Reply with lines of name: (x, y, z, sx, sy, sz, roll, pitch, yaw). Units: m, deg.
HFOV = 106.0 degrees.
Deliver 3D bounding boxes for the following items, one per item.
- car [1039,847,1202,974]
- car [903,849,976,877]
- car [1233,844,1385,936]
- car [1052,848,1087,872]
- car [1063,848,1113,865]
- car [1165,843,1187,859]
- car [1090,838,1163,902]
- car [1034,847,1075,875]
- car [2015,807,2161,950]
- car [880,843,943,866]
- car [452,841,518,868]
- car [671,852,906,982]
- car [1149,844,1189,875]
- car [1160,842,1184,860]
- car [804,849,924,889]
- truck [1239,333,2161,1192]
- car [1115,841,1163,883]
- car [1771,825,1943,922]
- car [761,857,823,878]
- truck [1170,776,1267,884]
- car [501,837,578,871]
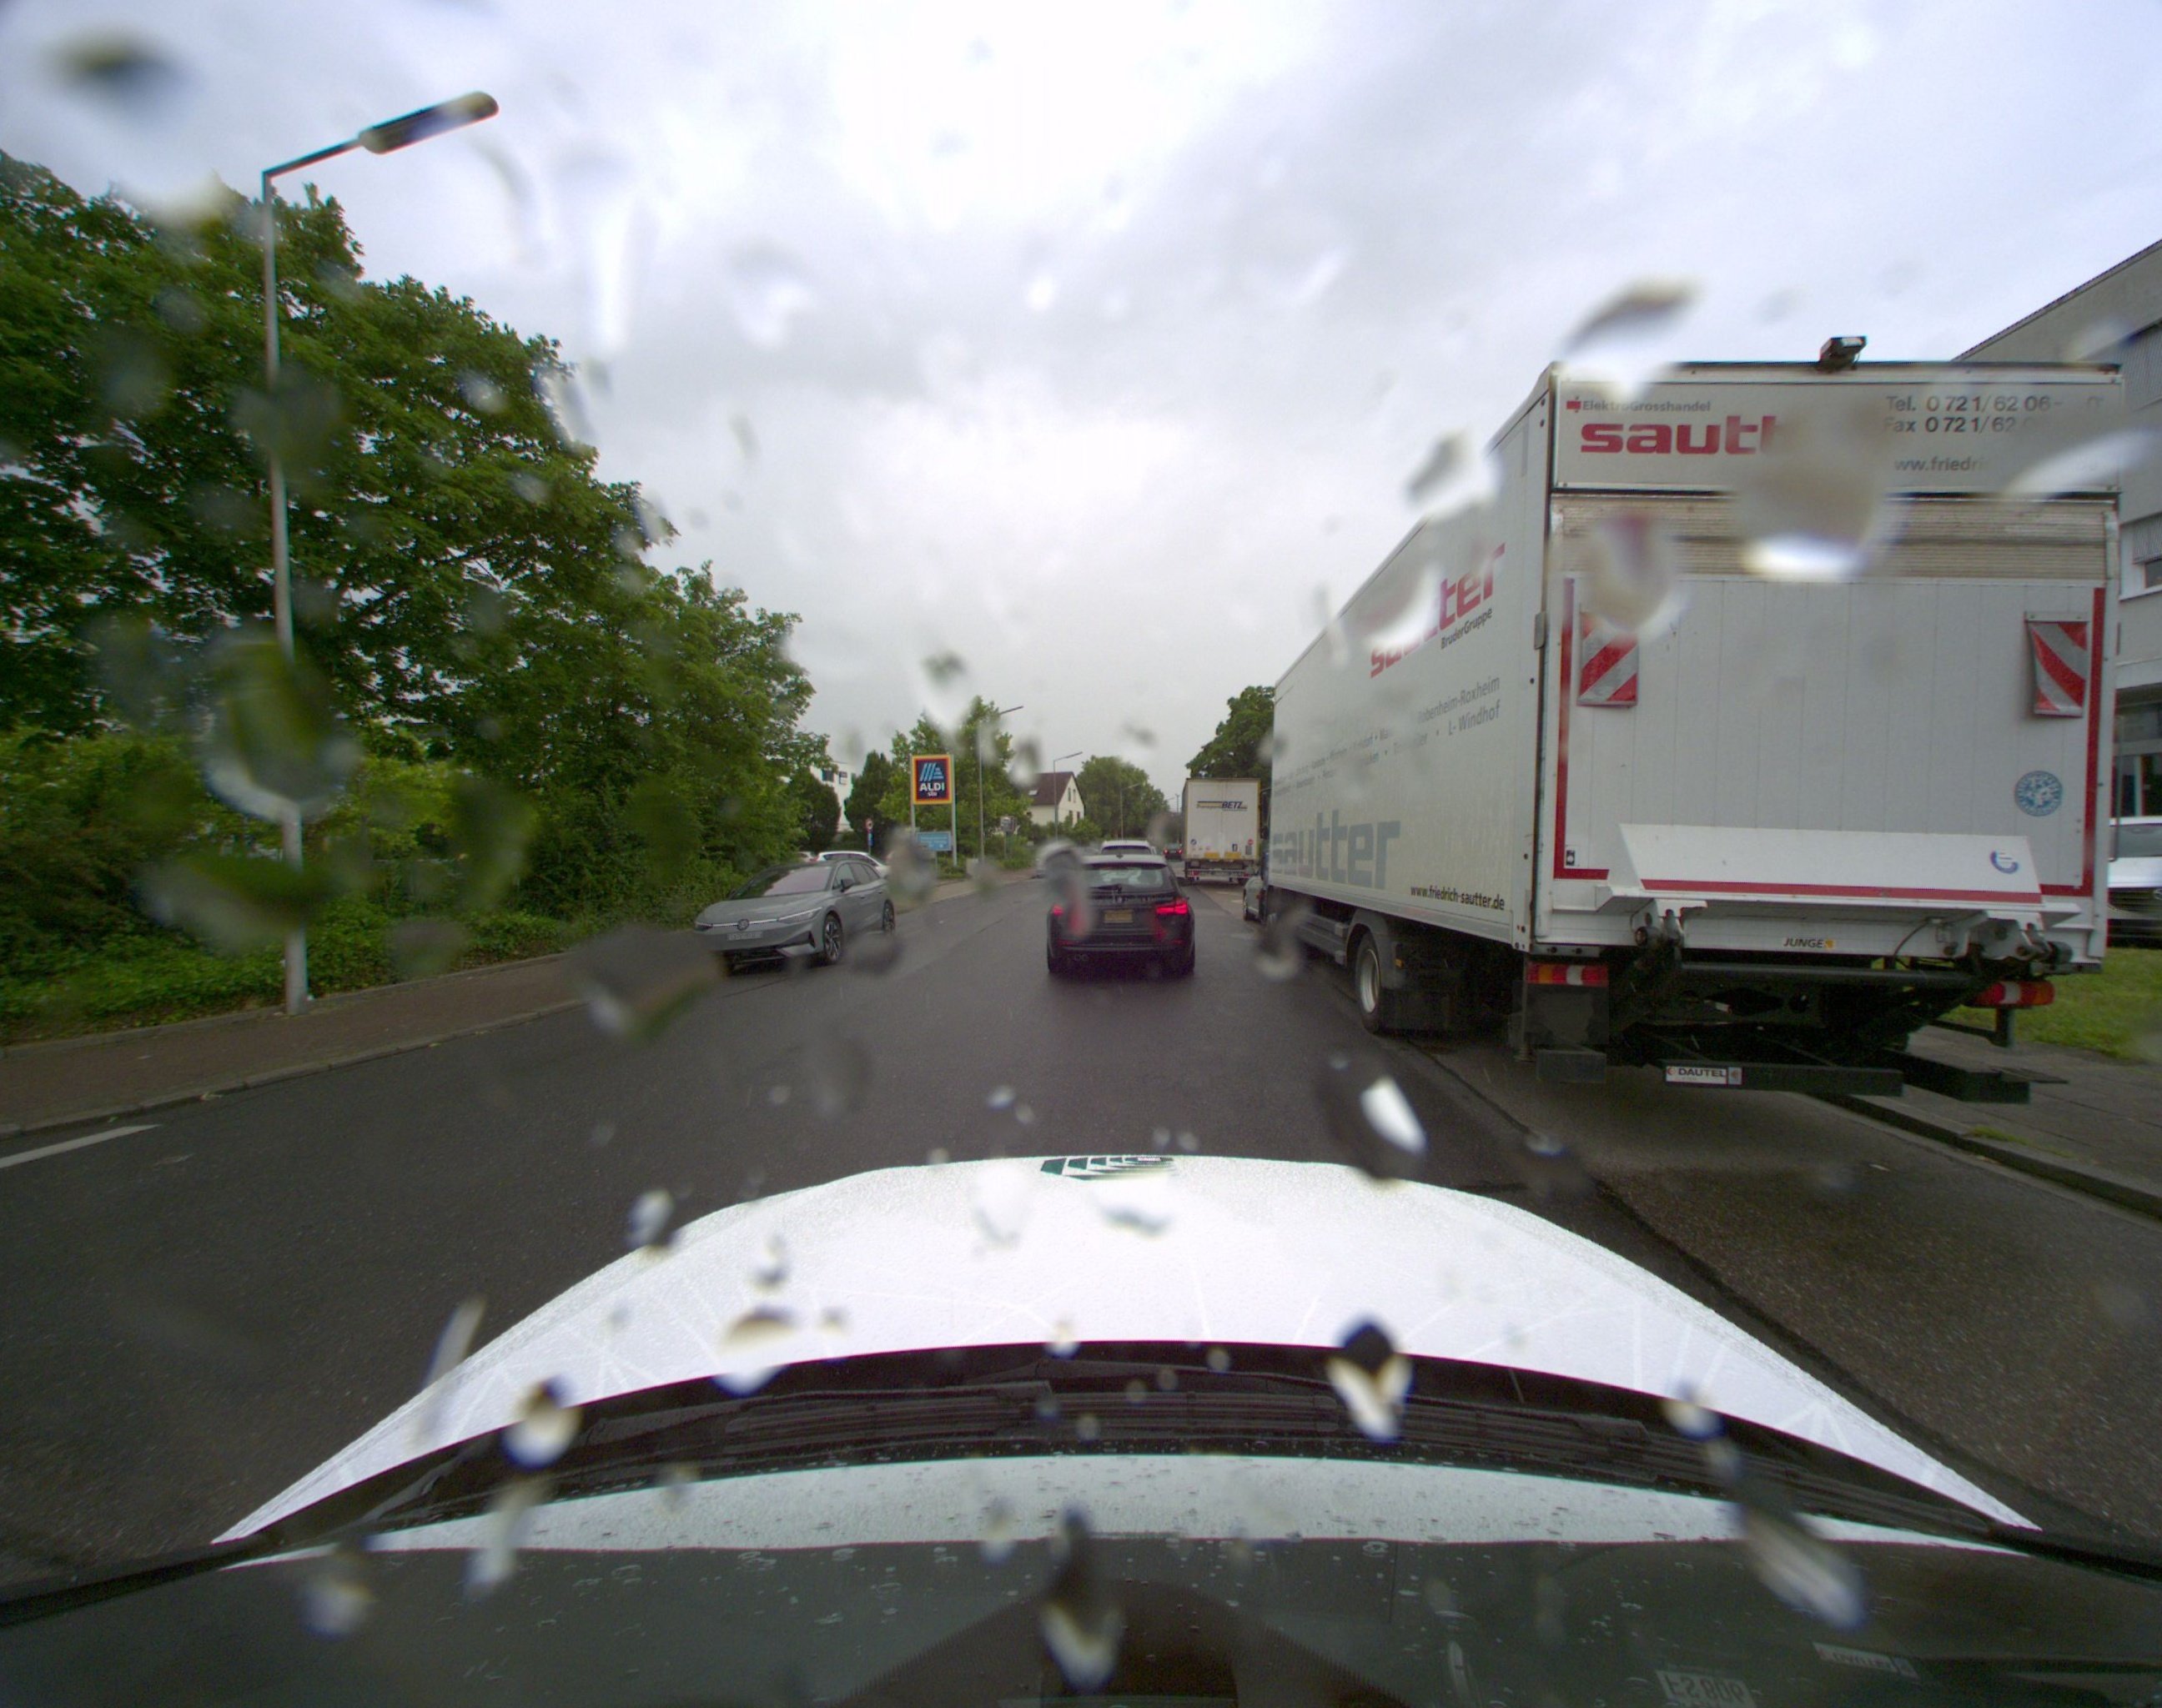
car: (0.467, 0.618, 11.037, 1.798, 1.395, 4.000, 0, 0, 1)
car: (-7.659, 0.455, 44.147, 3.553, 1.459, 1.714, 0, 1, 4)
car: (4.122, 0.564, 15.450, 1.790, 1.441, 4.347, -1, 1, 2)
car: (-0.716, 0.365, 52.045, 1.697, 1.367, 3.845, -4, 1, 6)
car: (0.629, 0.196, 70.776, 4.169, 1.362, 1.590, -1, 0, 3)
car: (9.374, -0.289, 80.001, 1.792, 1.586, 4.013, 0, 0, 12)
car: (1.169, 0.386, 22.282, 1.798, 1.586, 4.000, 0, 0, 1)
car: (-1.429, 0.340, 46.084, 1.698, 1.367, 4.607, -4, 1, 5)
car: (12.559, 0.200, 9.714, 4.022, 1.470, 1.754, -2, 1, -42)
car: (-12.037, 0.035, 58.126, 3.970, 1.540, 1.912, -1, 1, 3)
car: (-45.980, 0.055, 62.908, 1.985, 2.013, 4.004, -1, 0, 3)
car: (-4.364, 0.827, 13.100, 1.802, 1.528, 4.750, -5, 0, 2)
car: (4.911, 0.294, 45.900, 1.986, 1.684, 4.002, 0, 0, 2)
car: (8.276, -0.280, 73.808, 1.792, 1.586, 4.013, 0, 0, 12)
car: (-8.383, 0.554, 31.735, 4.177, 1.459, 1.712, -1, 0, -1)
truck: (3.683, -0.483, 8.292, 2.730, 3.789, 9.307, 1, 1, 3)
car: (2.274, 0.294, 32.939, 1.797, 1.586, 4.002, 0, 0, 2)
car: (12.381, 0.221, 12.911, 4.022, 1.286, 1.686, -2, 1, -42)
car: (-22.406, 1.010, 63.170, 3.969, 1.499, 2.003, -1, 1, 4)
truck: (5.080, -0.855, 31.558, 2.730, 3.610, 7.755, 1, 1, 2)
car: (-38.571, -0.052, 58.204, 1.985, 2.297, 4.818, -1, 1, 3)
